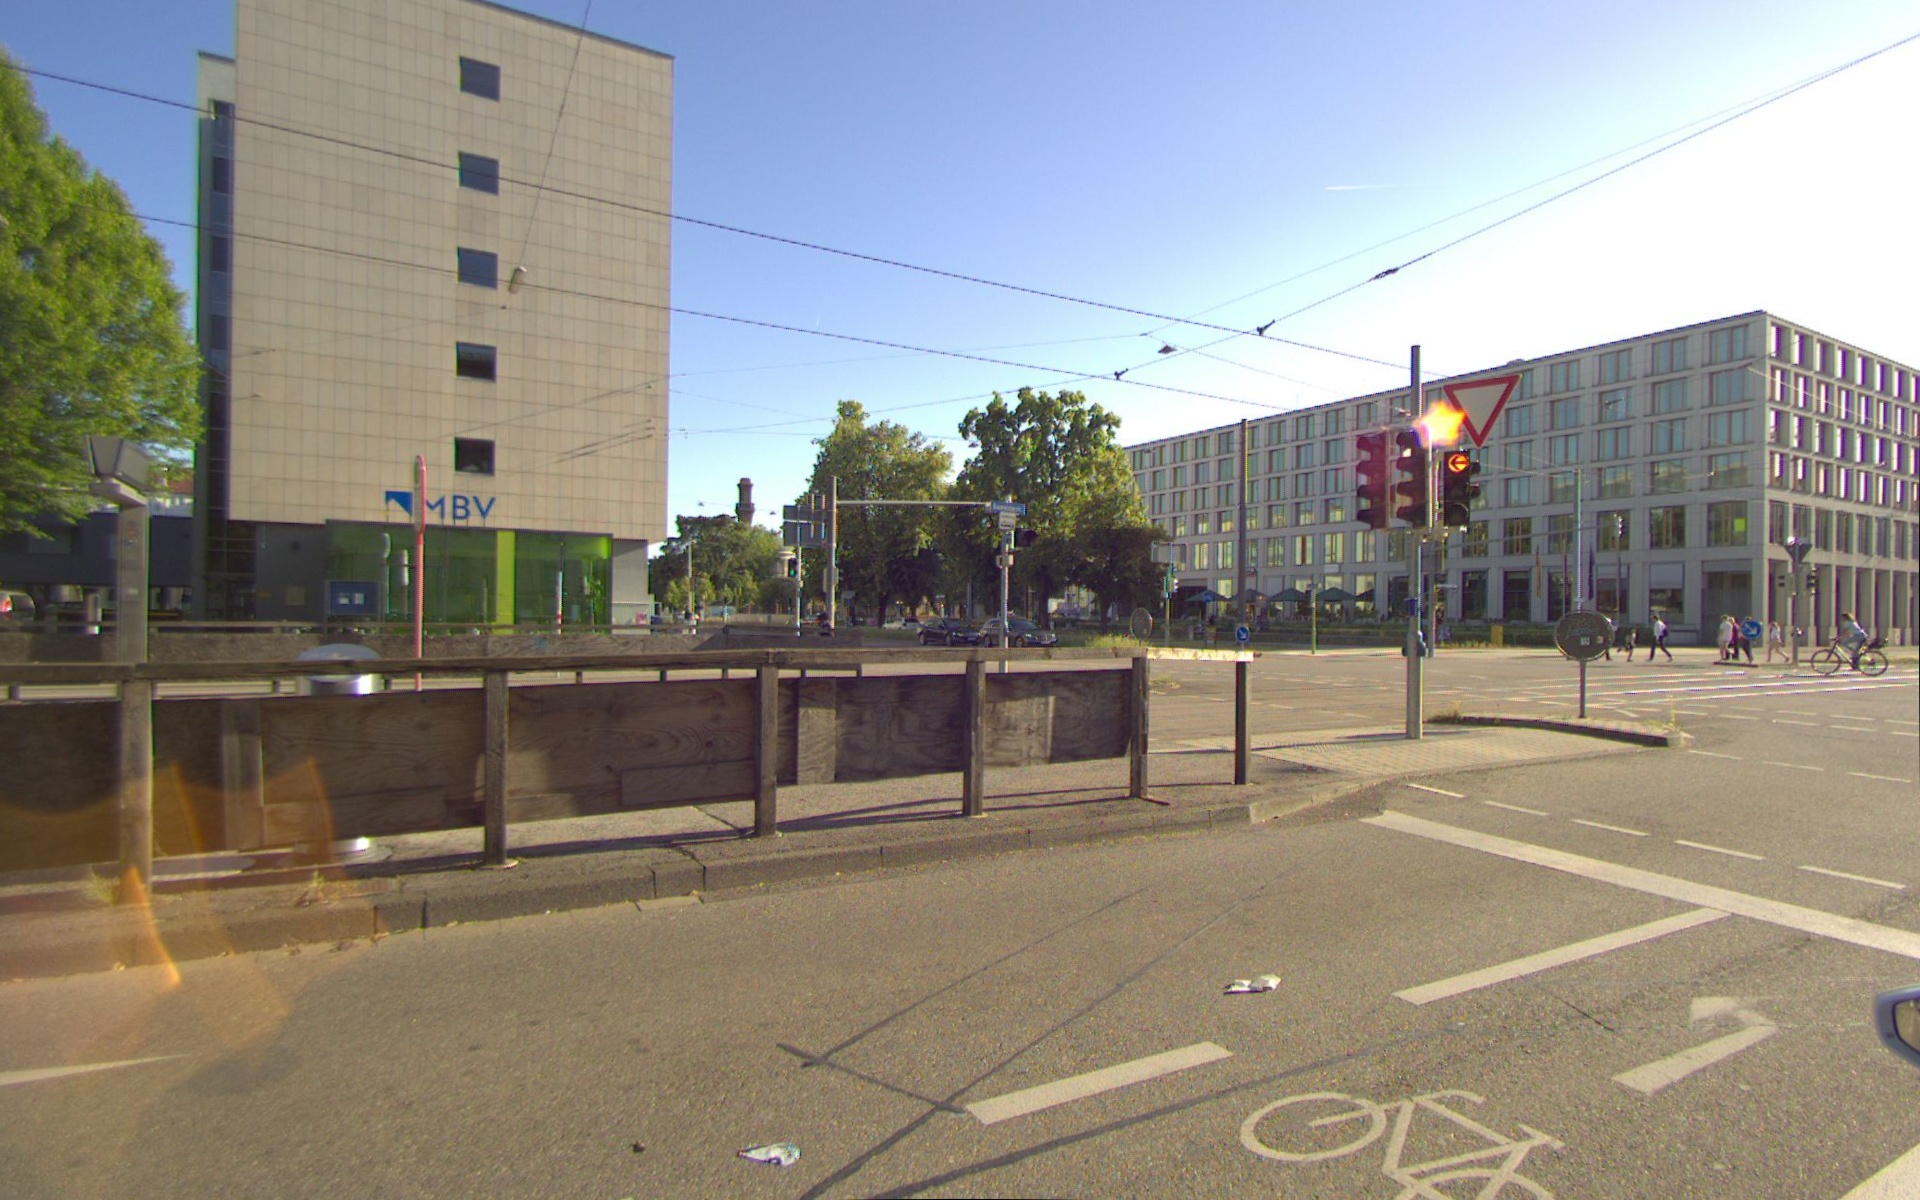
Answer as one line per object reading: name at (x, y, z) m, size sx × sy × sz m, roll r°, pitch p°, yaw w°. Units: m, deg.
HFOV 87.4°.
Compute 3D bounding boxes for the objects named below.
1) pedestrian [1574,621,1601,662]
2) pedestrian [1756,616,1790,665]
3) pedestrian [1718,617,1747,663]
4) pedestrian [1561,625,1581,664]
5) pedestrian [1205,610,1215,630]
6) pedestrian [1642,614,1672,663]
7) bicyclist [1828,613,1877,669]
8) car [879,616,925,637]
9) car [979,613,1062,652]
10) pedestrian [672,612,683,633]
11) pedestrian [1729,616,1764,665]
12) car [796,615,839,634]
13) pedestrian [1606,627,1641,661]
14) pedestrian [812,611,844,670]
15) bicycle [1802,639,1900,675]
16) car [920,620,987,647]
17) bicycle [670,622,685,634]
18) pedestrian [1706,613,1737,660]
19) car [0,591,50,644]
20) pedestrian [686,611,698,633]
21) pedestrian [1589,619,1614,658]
pedestrian at (26.146, 1.714, 41.869) m, size 0.615 × 1.666 × 0.787 m, roll 1°, pitch -1°, yaw -34°
pedestrian at (30.962, 1.524, 38.278) m, size 0.525 × 1.827 × 0.867 m, roll 1°, pitch -1°, yaw -24°
pedestrian at (30.919, 1.594, 40.209) m, size 0.525 × 1.827 × 0.737 m, roll 1°, pitch -1°, yaw -24°
pedestrian at (26.512, 1.918, 43.601) m, size 0.683 × 1.666 × 0.621 m, roll 0°, pitch -1°, yaw 26°
pedestrian at (21.546, 1.744, 86.547) m, size 0.556 × 1.691 × 0.537 m, roll 2°, pitch 0°, yaw -33°
pedestrian at (27.953, 1.520, 40.298) m, size 0.628 × 1.943 × 0.800 m, roll 1°, pitch -1°, yaw -24°
bicyclist at (25.672, 1.175, 28.893) m, size 0.569 × 1.581 × 0.968 m, roll 1°, pitch -1°, yaw -36°
car at (-4.259, 1.931, 73.579) m, size 1.614 × 1.452 × 4.021 m, roll 3°, pitch -2°, yaw -31°
car at (2.833, 1.526, 47.866) m, size 1.830 × 1.602 × 4.495 m, roll 1°, pitch 1°, yaw -28°
pedestrian at (-23.936, 1.882, 85.106) m, size 0.666 × 1.739 × 0.754 m, roll 1°, pitch -1°, yaw -32°
pedestrian at (30.039, 1.538, 38.368) m, size 0.654 × 1.827 × 0.868 m, roll 1°, pitch -1°, yaw -24°
car at (-12.603, 2.122, 88.602) m, size 1.978 × 1.433 × 4.711 m, roll 4°, pitch -2°, yaw -31°
pedestrian at (26.568, 1.768, 40.226) m, size 0.760 × 1.335 × 0.986 m, roll 1°, pitch -1°, yaw -38°
pedestrian at (-3.941, 1.193, 29.933) m, size 0.814 × 1.739 × 0.757 m, roll 1°, pitch -1°, yaw -18°
bicycle at (25.625, 1.629, 28.936) m, size 0.569 × 0.945 × 2.051 m, roll 1°, pitch -1°, yaw -35°
car at (-0.398, 1.756, 53.371) m, size 1.755 × 1.311 × 4.209 m, roll 1°, pitch -1°, yaw -30°
bicycle at (-23.895, 2.380, 85.012) m, size 0.669 × 0.973 × 2.131 m, roll 1°, pitch -1°, yaw -32°
pedestrian at (29.992, 1.450, 39.547) m, size 0.706 × 1.827 × 0.737 m, roll 1°, pitch -1°, yaw -24°
car at (-27.700, 0.434, 27.782) m, size 3.371 × 1.431 × 1.562 m, roll 2°, pitch 0°, yaw -20°
pedestrian at (-22.954, 1.877, 86.135) m, size 0.818 × 1.829 × 0.754 m, roll 1°, pitch -1°, yaw -31°
pedestrian at (27.958, 1.672, 43.787) m, size 0.612 × 1.666 × 0.692 m, roll 1°, pitch -1°, yaw -23°
